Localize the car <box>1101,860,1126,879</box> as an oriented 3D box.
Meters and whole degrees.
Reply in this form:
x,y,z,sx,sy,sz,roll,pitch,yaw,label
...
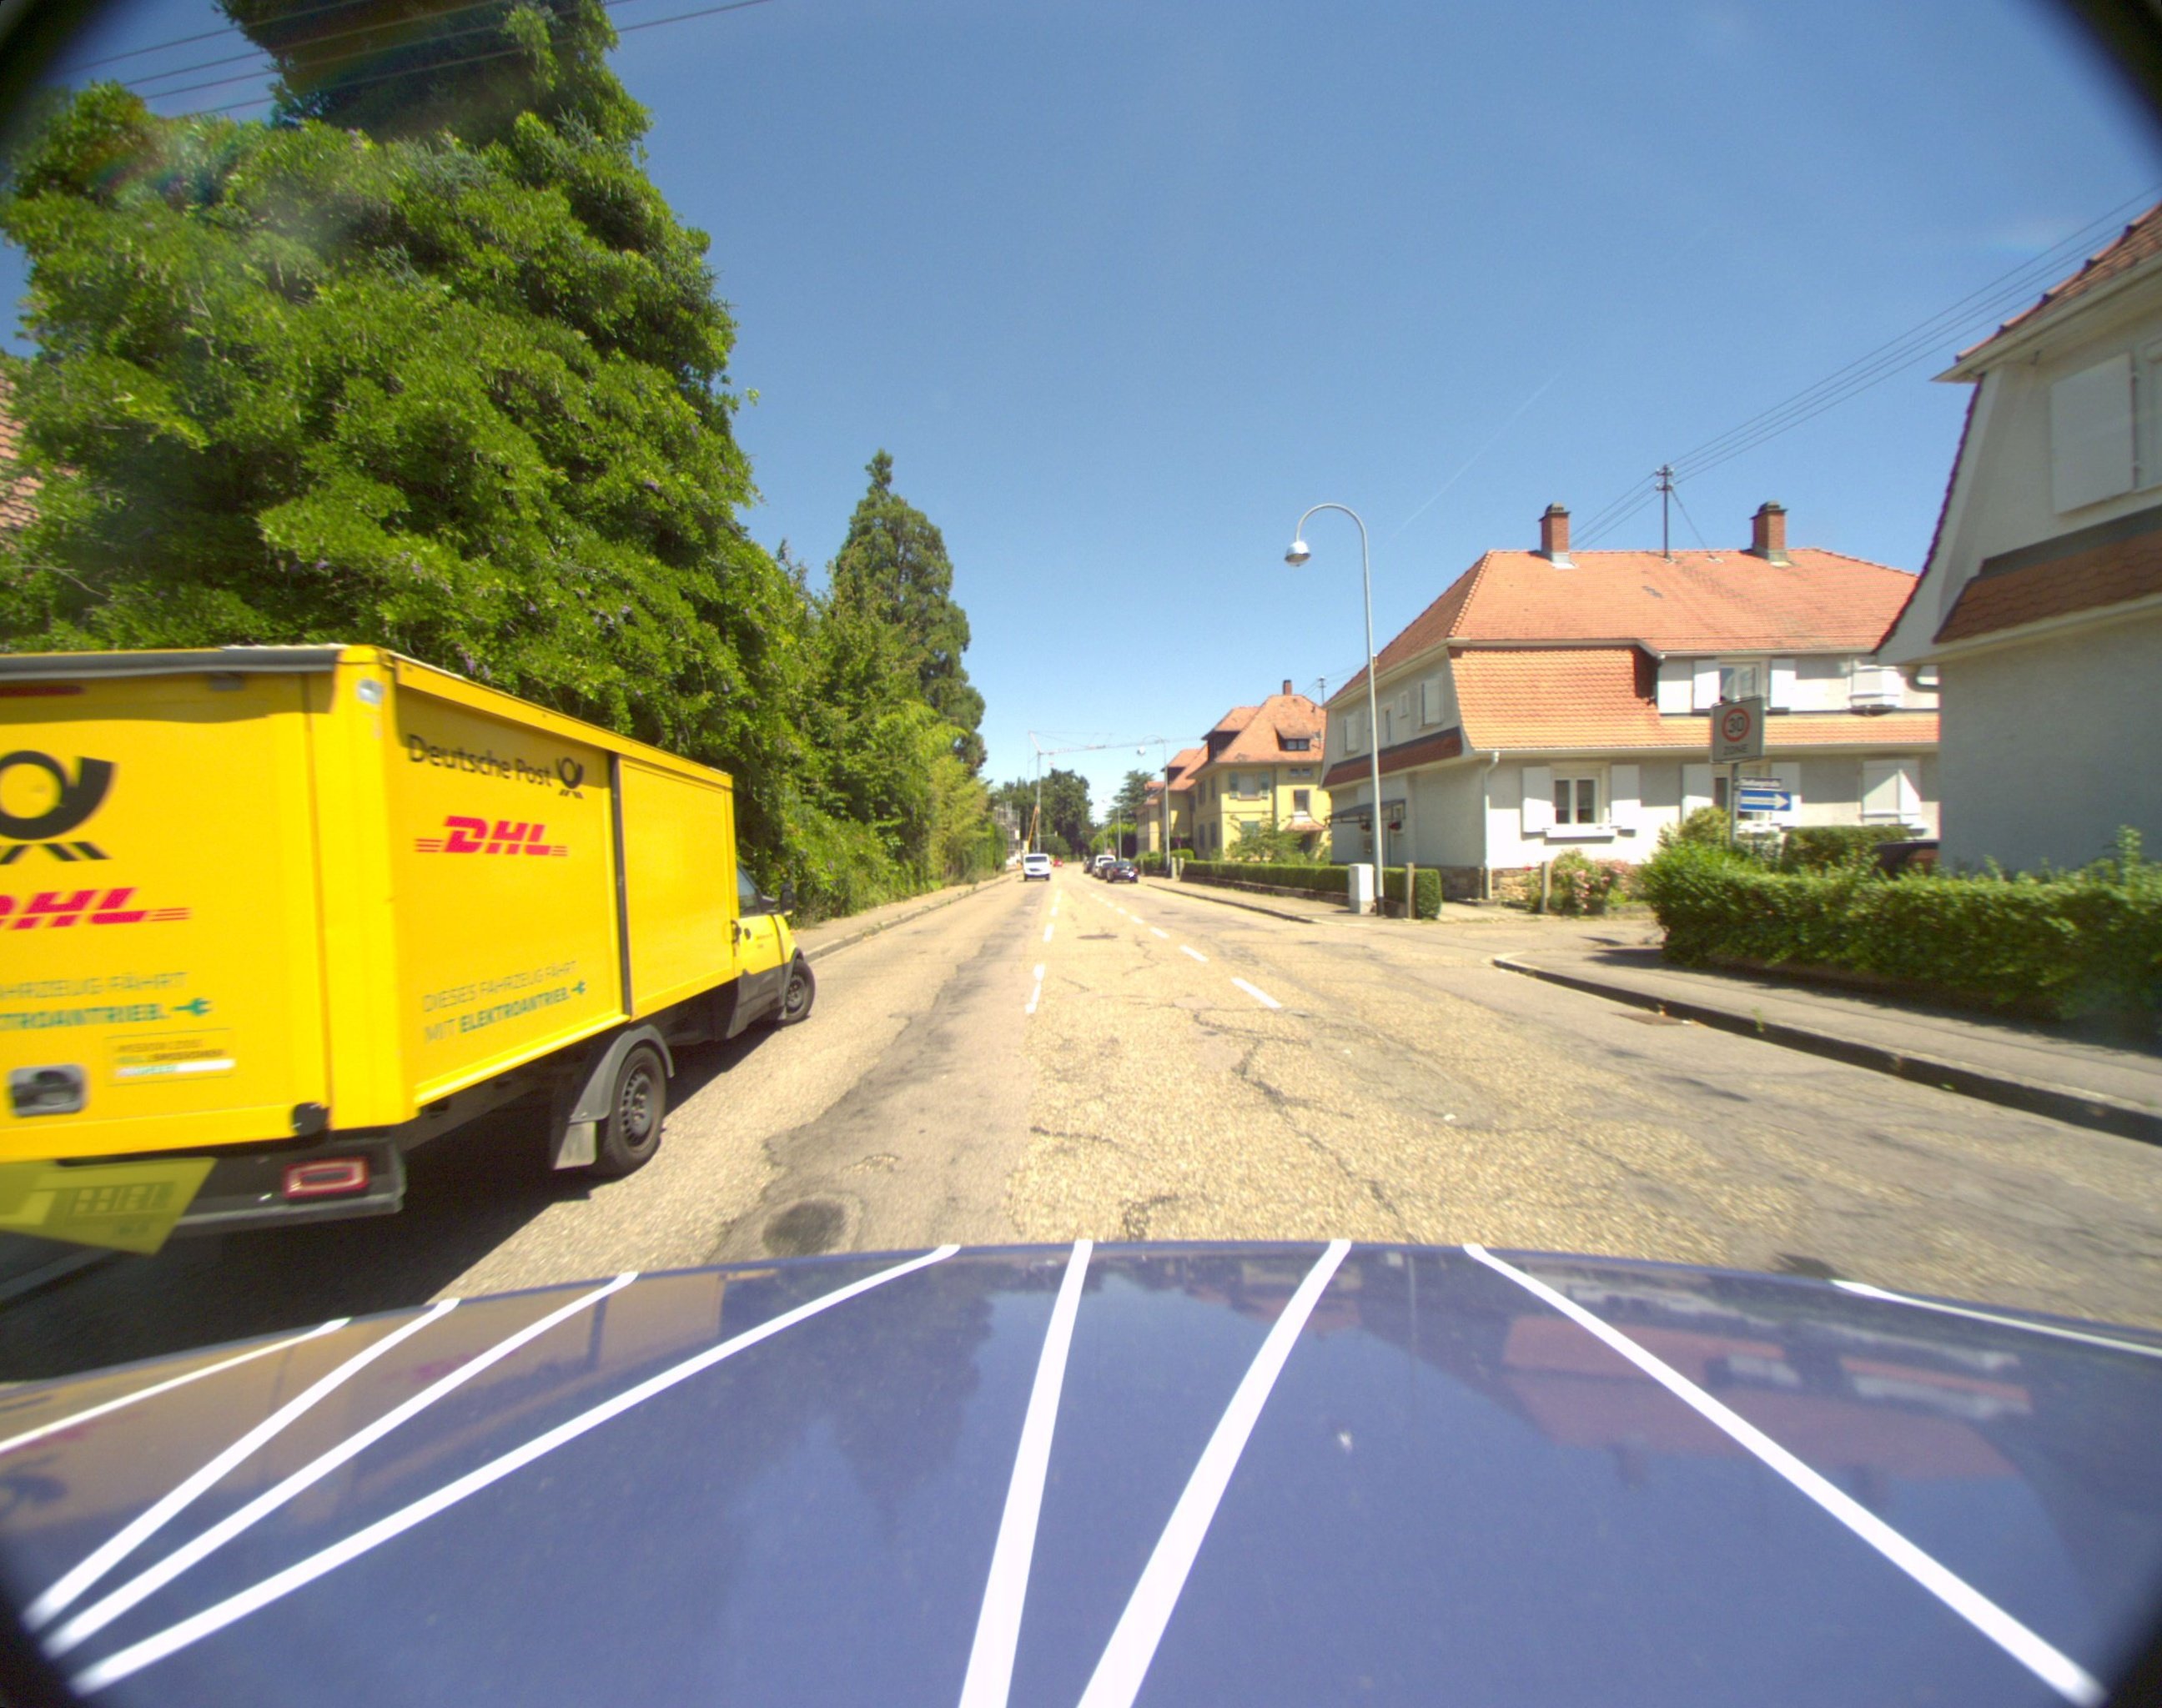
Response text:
x,y,z,sx,sy,sz,roll,pitch,yaw,label
2.384,1.116,57.033,1.753,1.390,4.000,0,0,0,car

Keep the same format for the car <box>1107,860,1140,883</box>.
x,y,z,sx,sy,sz,roll,pitch,yaw,label
2.620,1.068,47.677,1.754,1.390,3.999,1,0,-2,car

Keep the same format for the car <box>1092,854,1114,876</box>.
x,y,z,sx,sy,sz,roll,pitch,yaw,label
1.907,0.951,67.175,1.754,1.885,4.000,0,0,-2,car

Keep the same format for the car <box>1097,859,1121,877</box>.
x,y,z,sx,sy,sz,roll,pitch,yaw,label
2.290,1.141,62.396,1.754,1.427,4.000,0,0,0,car

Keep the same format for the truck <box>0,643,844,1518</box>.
x,y,z,sx,sy,sz,roll,pitch,yaw,label
-3.312,0.640,5.073,2.019,2.295,6.172,-4,0,-6,truck

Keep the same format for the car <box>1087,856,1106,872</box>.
x,y,z,sx,sy,sz,roll,pitch,yaw,label
1.808,1.164,87.767,1.998,1.674,4.000,-3,0,2,car

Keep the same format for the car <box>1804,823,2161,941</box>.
x,y,z,sx,sy,sz,roll,pitch,yaw,label
12.501,0.344,10.367,3.802,1.415,1.774,-1,0,-6,car

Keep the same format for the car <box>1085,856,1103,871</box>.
x,y,z,sx,sy,sz,roll,pitch,yaw,label
1.627,1.170,92.612,1.998,1.674,4.000,-3,0,2,car

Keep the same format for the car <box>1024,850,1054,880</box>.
x,y,z,sx,sy,sz,roll,pitch,yaw,label
-3.055,0.773,56.131,1.999,2.002,4.386,-3,0,-1,car
